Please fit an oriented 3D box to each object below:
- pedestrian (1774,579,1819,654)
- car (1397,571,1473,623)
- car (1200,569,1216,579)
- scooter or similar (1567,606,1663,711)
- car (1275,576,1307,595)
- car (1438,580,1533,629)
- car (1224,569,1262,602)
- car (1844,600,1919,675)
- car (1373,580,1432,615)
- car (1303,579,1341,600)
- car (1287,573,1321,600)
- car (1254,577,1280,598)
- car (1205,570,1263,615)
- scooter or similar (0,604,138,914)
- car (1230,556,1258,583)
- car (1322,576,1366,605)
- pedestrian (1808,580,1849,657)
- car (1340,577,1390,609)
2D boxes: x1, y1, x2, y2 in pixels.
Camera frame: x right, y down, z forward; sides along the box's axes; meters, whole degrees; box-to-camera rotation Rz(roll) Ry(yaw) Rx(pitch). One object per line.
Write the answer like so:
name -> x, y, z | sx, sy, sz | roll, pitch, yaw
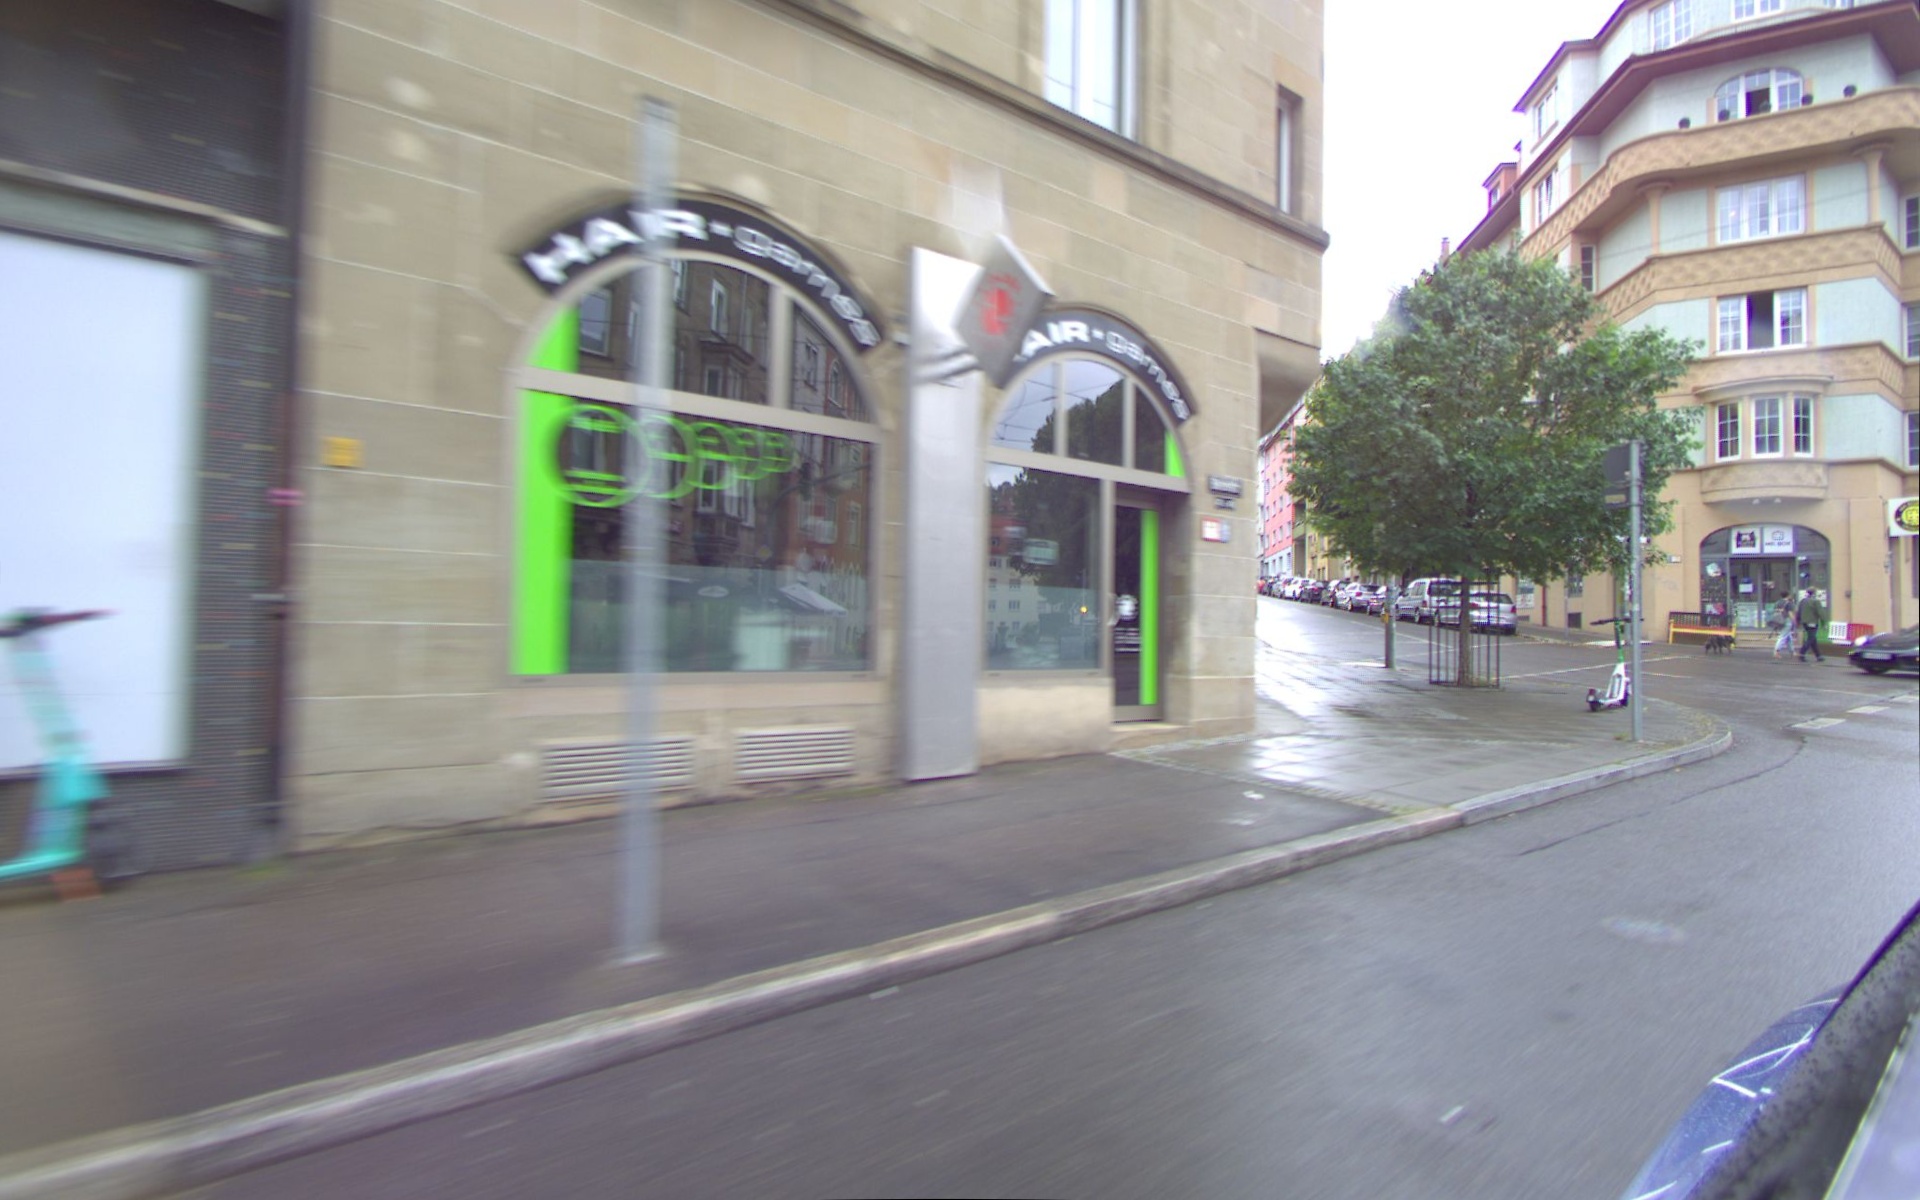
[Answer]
pedestrian -> 20.611, 0.394, 24.927 | 0.886, 1.811, 0.683 | 0, 1, -41
car -> 18.252, -0.132, 39.068 | 1.578, 1.867, 3.548 | -2, 1, 7
car -> 29.485, -3.097, 120.256 | 1.422, 1.187, 3.277 | 1, 1, 7
scooter or similar -> 8.293, 0.701, 12.798 | 1.526, 1.225, 0.639 | 0, 0, -42
car -> 22.411, -0.993, 68.545 | 1.422, 1.187, 3.278 | -2, 1, 7
car -> 17.741, 0.120, 34.318 | 1.663, 1.478, 3.527 | 3, 1, 7
car -> 17.823, -0.930, 63.949 | 1.717, 1.895, 3.991 | -4, 0, 8
car -> 21.010, 0.757, 20.939 | 4.110, 1.302, 1.711 | 0, 6, -8
car -> 18.846, -0.123, 43.256 | 1.422, 1.443, 3.292 | 0, 1, 7
car -> 21.183, -0.633, 59.243 | 1.422, 1.139, 3.071 | -2, 1, 7
car -> 21.789, -0.875, 64.186 | 1.422, 1.594, 3.278 | -2, 1, 7
car -> 24.011, -0.995, 79.217 | 1.422, 1.594, 3.278 | -2, 1, 7
car -> 11.695, -0.372, 43.387 | 1.717, 1.747, 4.350 | -2, 1, 7
scooter or similar -> -4.050, 0.634, 4.110 | 1.087, 1.232, 0.396 | 1, -1, -40
car -> 26.308, -2.804, 93.876 | 1.917, 2.488, 3.805 | 1, 1, 7
car -> 20.306, -0.518, 53.656 | 1.422, 1.443, 3.292 | -2, 1, 7
pedestrian -> 20.853, 0.433, 24.294 | 0.875, 1.811, 0.595 | 0, 1, -41
car -> 19.633, -0.370, 49.177 | 1.422, 1.443, 3.292 | -2, 1, 7
